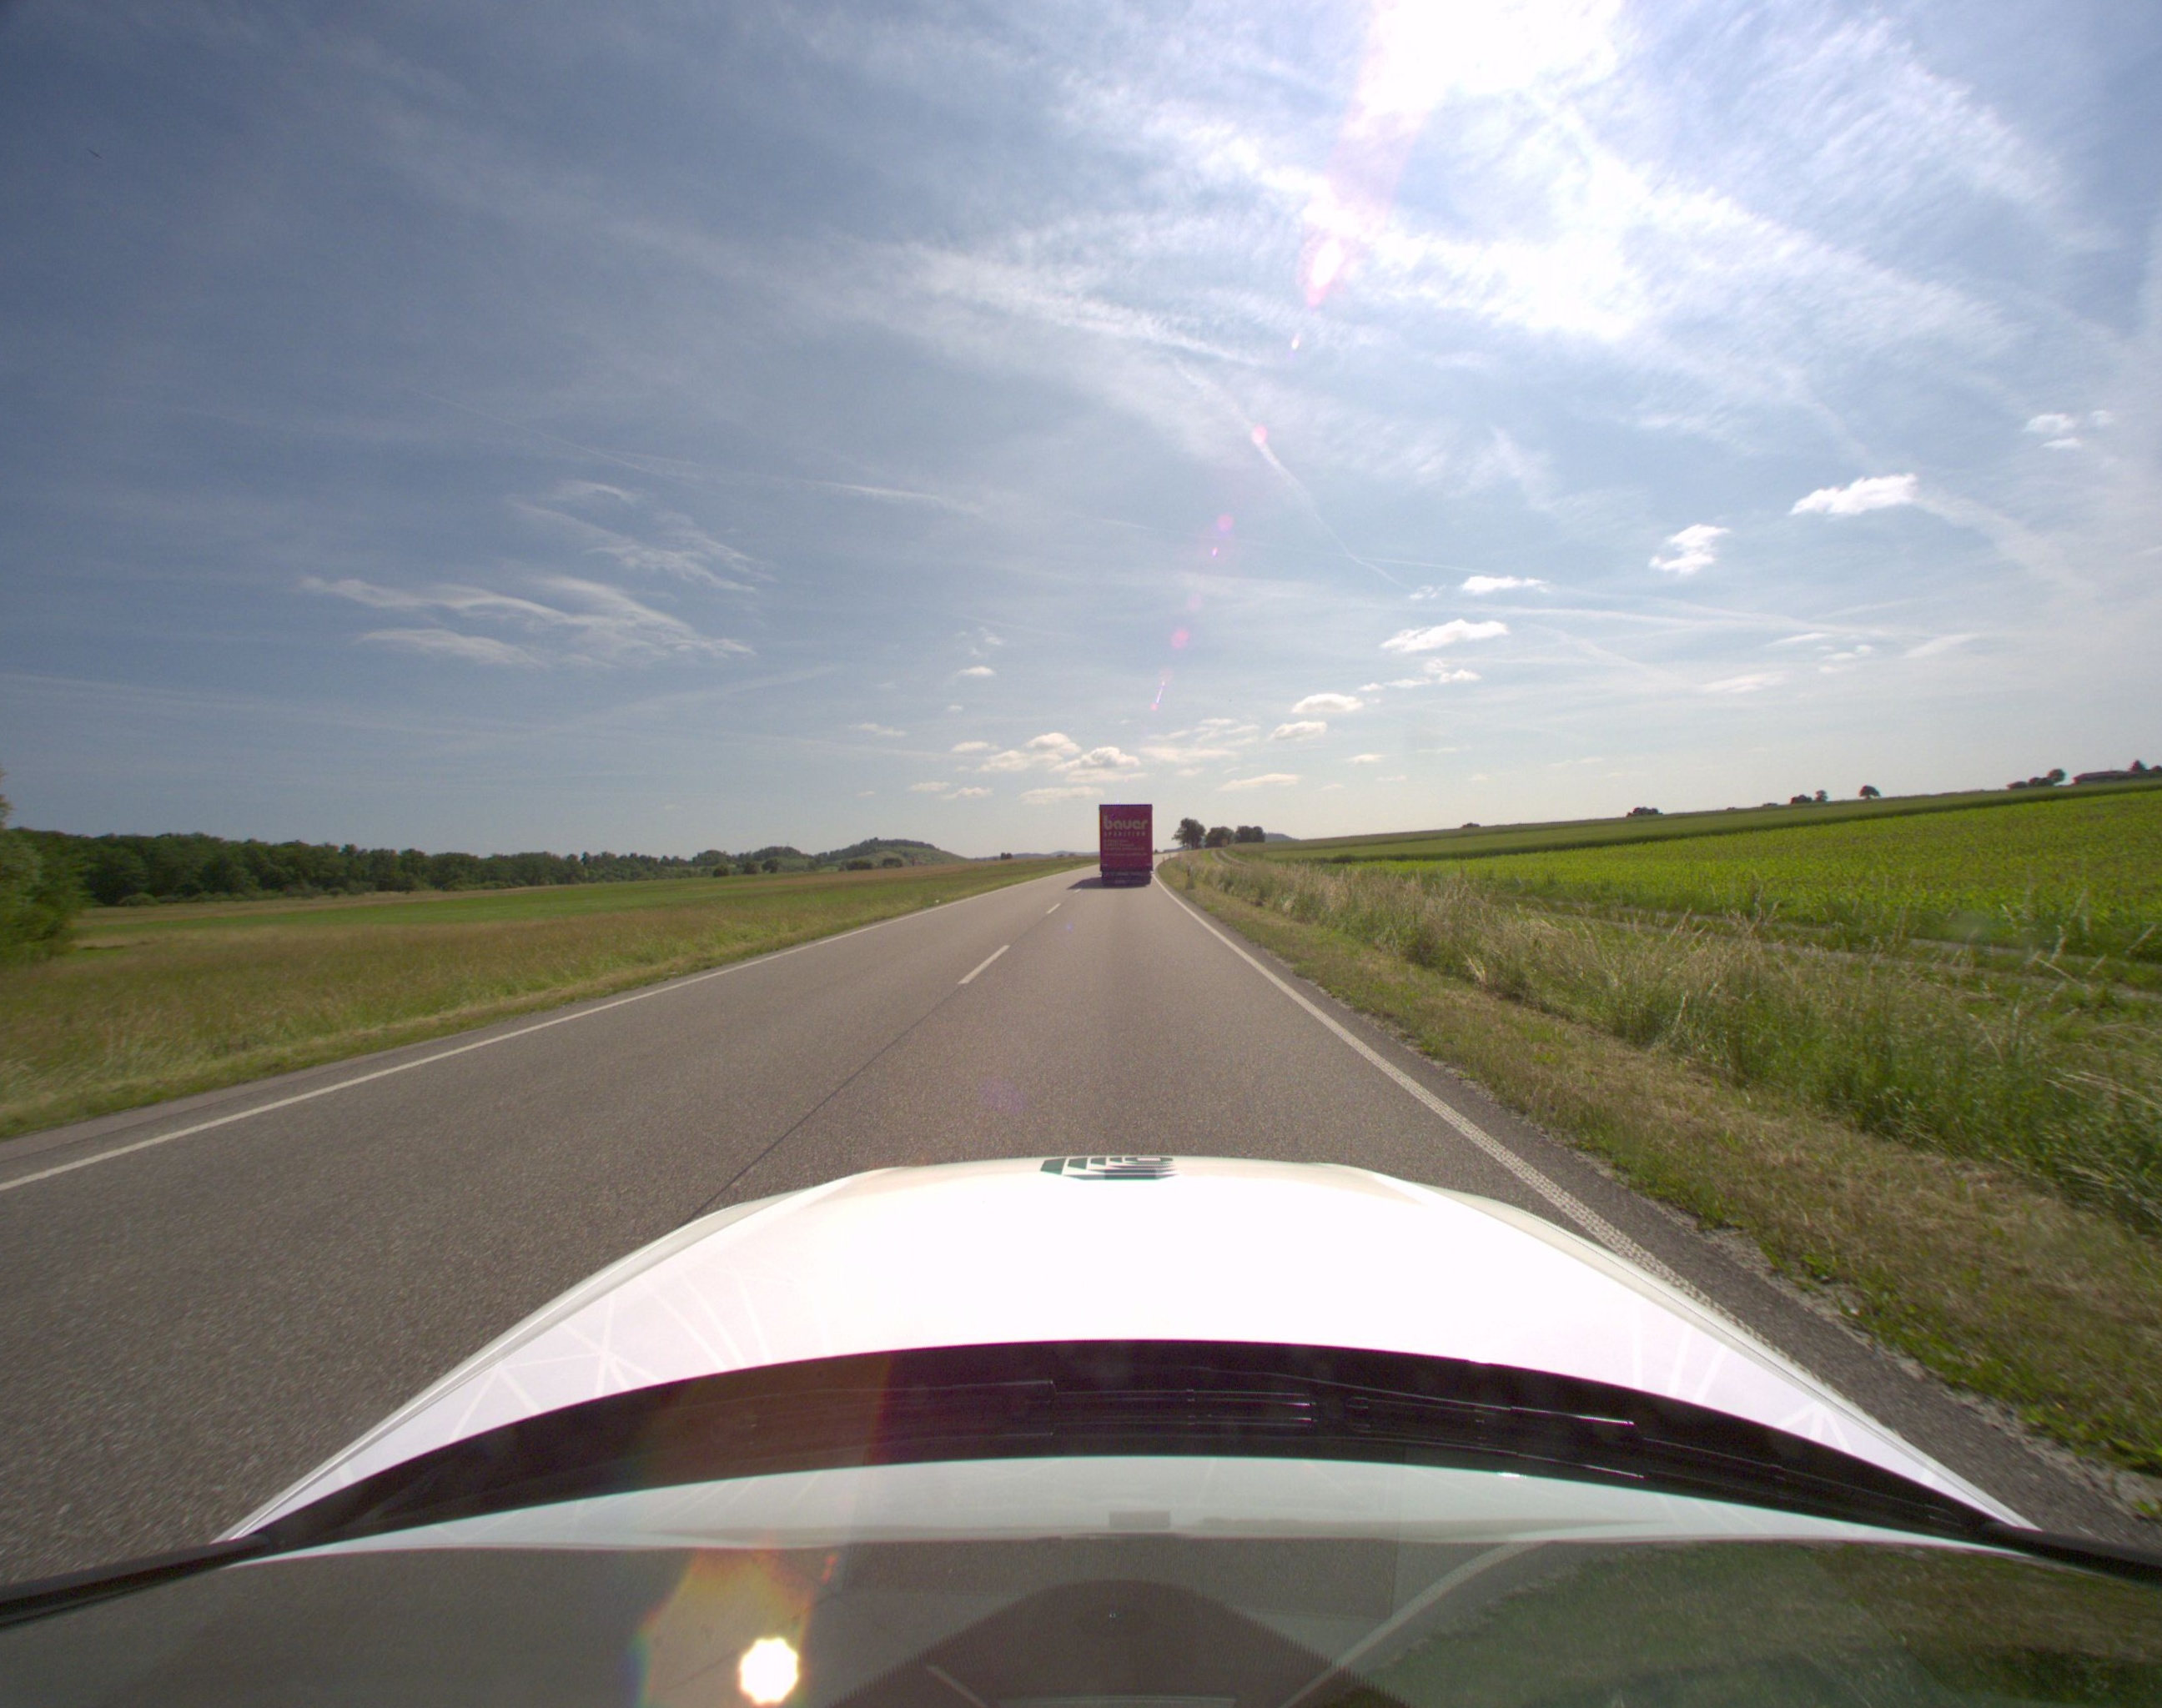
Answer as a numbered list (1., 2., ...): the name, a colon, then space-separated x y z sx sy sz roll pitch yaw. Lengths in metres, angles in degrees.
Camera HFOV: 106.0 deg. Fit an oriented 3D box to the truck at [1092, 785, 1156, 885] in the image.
1. truck: 2.274 -0.905 43.130 2.963 4.713 9.373 1 0 3
